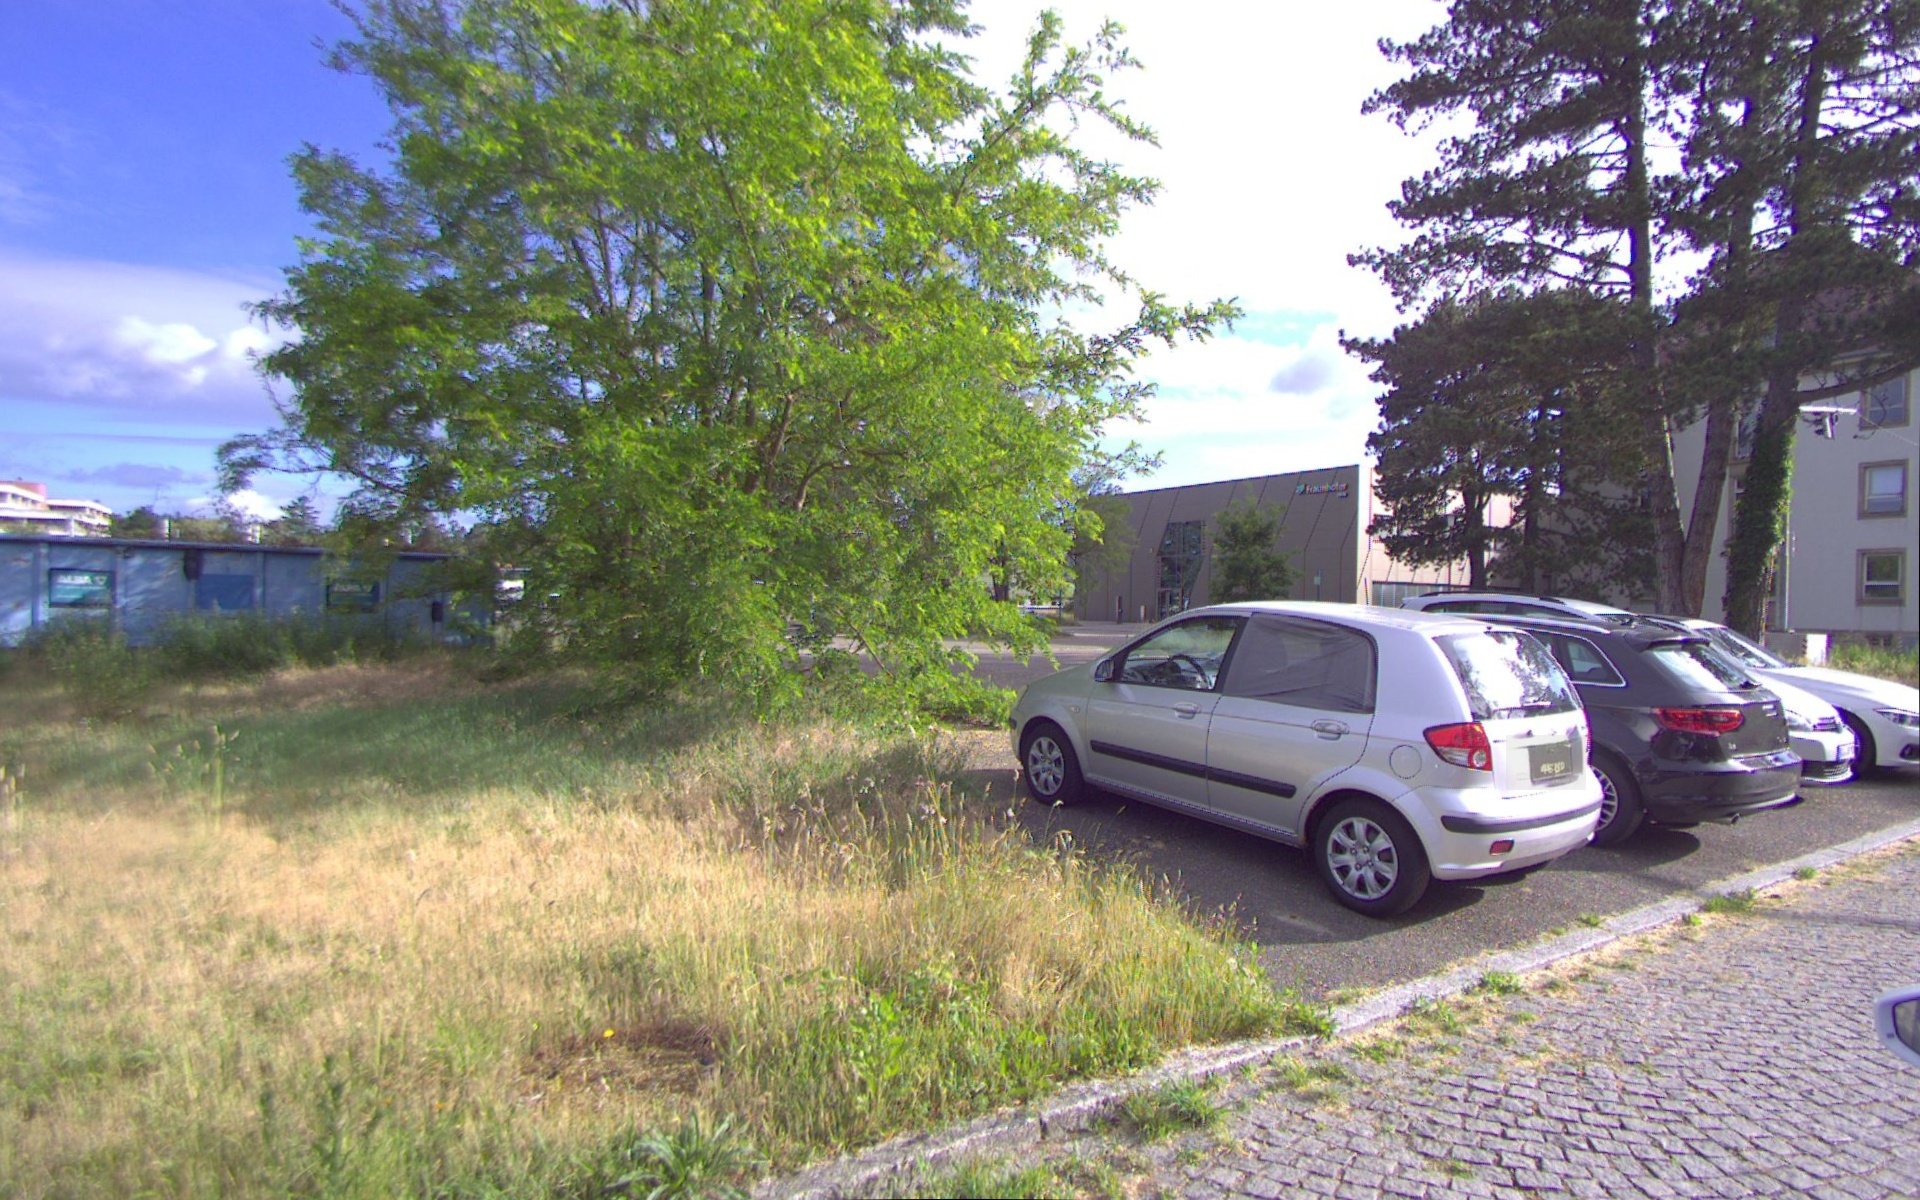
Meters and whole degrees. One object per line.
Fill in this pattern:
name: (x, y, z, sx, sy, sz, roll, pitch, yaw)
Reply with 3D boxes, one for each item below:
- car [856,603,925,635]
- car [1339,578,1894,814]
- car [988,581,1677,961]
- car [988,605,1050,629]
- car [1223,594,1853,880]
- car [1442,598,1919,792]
car: (-3.372, 0.904, 47.973, 1.647, 1.400, 3.965, 2, 0, -32)
car: (6.101, 0.716, 9.793, 1.842, 1.621, 4.090, 1, 3, -37)
car: (2.009, 0.734, 6.361, 1.831, 1.493, 3.659, 2, 2, -34)
car: (4.137, 1.193, 70.305, 4.116, 1.580, 1.791, 2, 0, -36)
car: (4.173, 0.800, 7.852, 1.839, 1.449, 3.805, 2, 2, -33)
car: (8.142, 0.849, 11.269, 1.884, 1.475, 4.556, -1, 4, -35)
